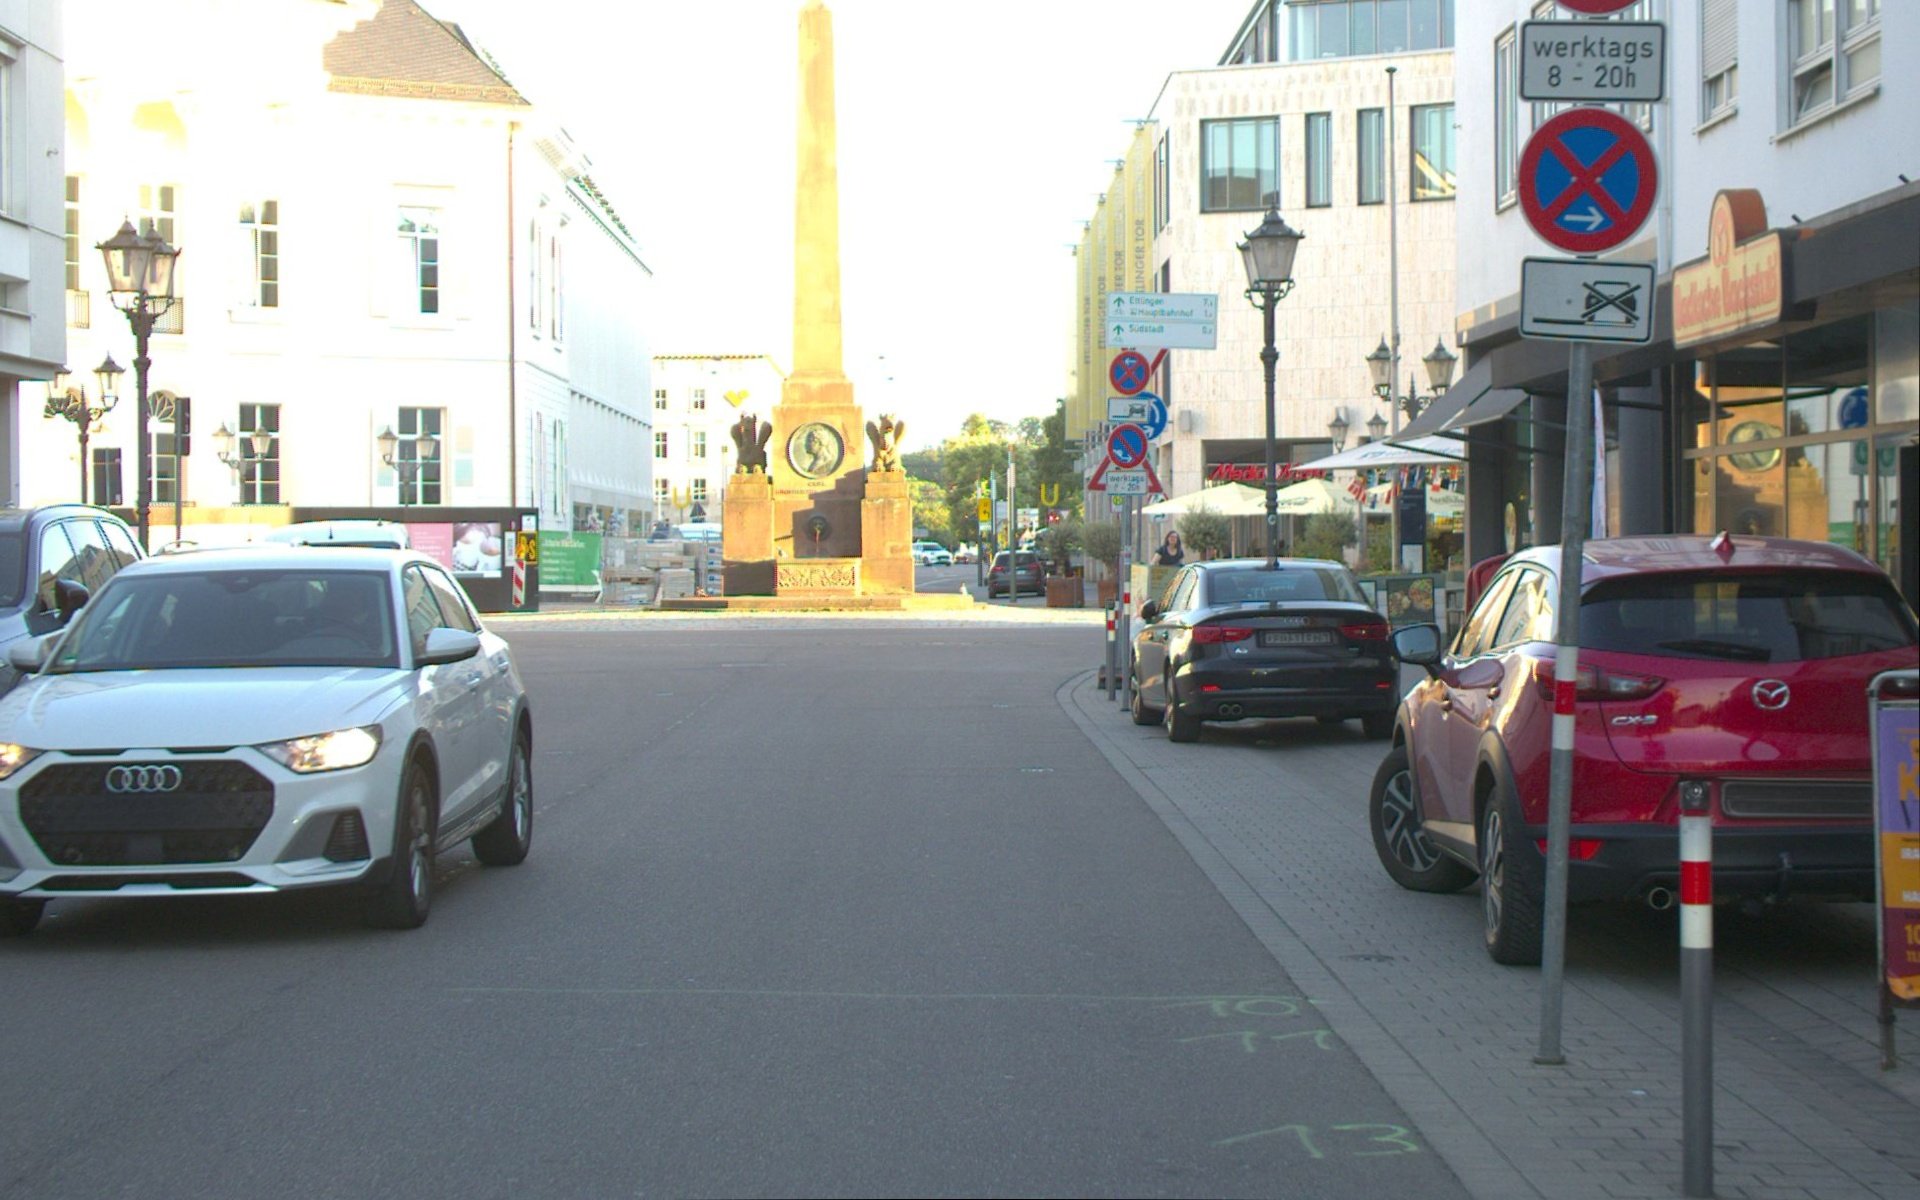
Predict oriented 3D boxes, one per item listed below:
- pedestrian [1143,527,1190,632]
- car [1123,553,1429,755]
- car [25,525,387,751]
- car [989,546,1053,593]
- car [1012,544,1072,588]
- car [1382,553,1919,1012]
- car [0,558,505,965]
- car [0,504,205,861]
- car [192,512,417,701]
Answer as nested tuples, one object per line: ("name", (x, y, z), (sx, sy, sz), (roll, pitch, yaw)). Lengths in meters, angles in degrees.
("pedestrian", (3.266, -0.333, 54.429), (0.690, 1.642, 0.696), (0, 1, -1))
("car", (2.420, 0.372, 27.297), (1.801, 1.459, 4.118), (0, 1, -3))
("car", (-5.868, 0.241, 27.224), (1.993, 1.656, 4.000), (0, 1, 0))
("car", (1.924, -0.981, 108.896), (1.993, 1.459, 4.000), (0, 1, 1))
("car", (2.796, -1.164, 117.366), (1.993, 1.459, 4.000), (0, 1, 1))
("car", (2.745, 0.590, 13.383), (1.759, 1.518, 3.677), (0, 1, 0))
("car", (-3.027, 0.550, 14.237), (1.764, 1.417, 4.000), (0, 1, 0))
("car", (-5.650, 0.379, 18.823), (1.993, 1.722, 4.516), (-1, 1, 0))
("car", (-6.669, 0.016, 35.391), (1.993, 1.809, 4.785), (0, 1, -7))
